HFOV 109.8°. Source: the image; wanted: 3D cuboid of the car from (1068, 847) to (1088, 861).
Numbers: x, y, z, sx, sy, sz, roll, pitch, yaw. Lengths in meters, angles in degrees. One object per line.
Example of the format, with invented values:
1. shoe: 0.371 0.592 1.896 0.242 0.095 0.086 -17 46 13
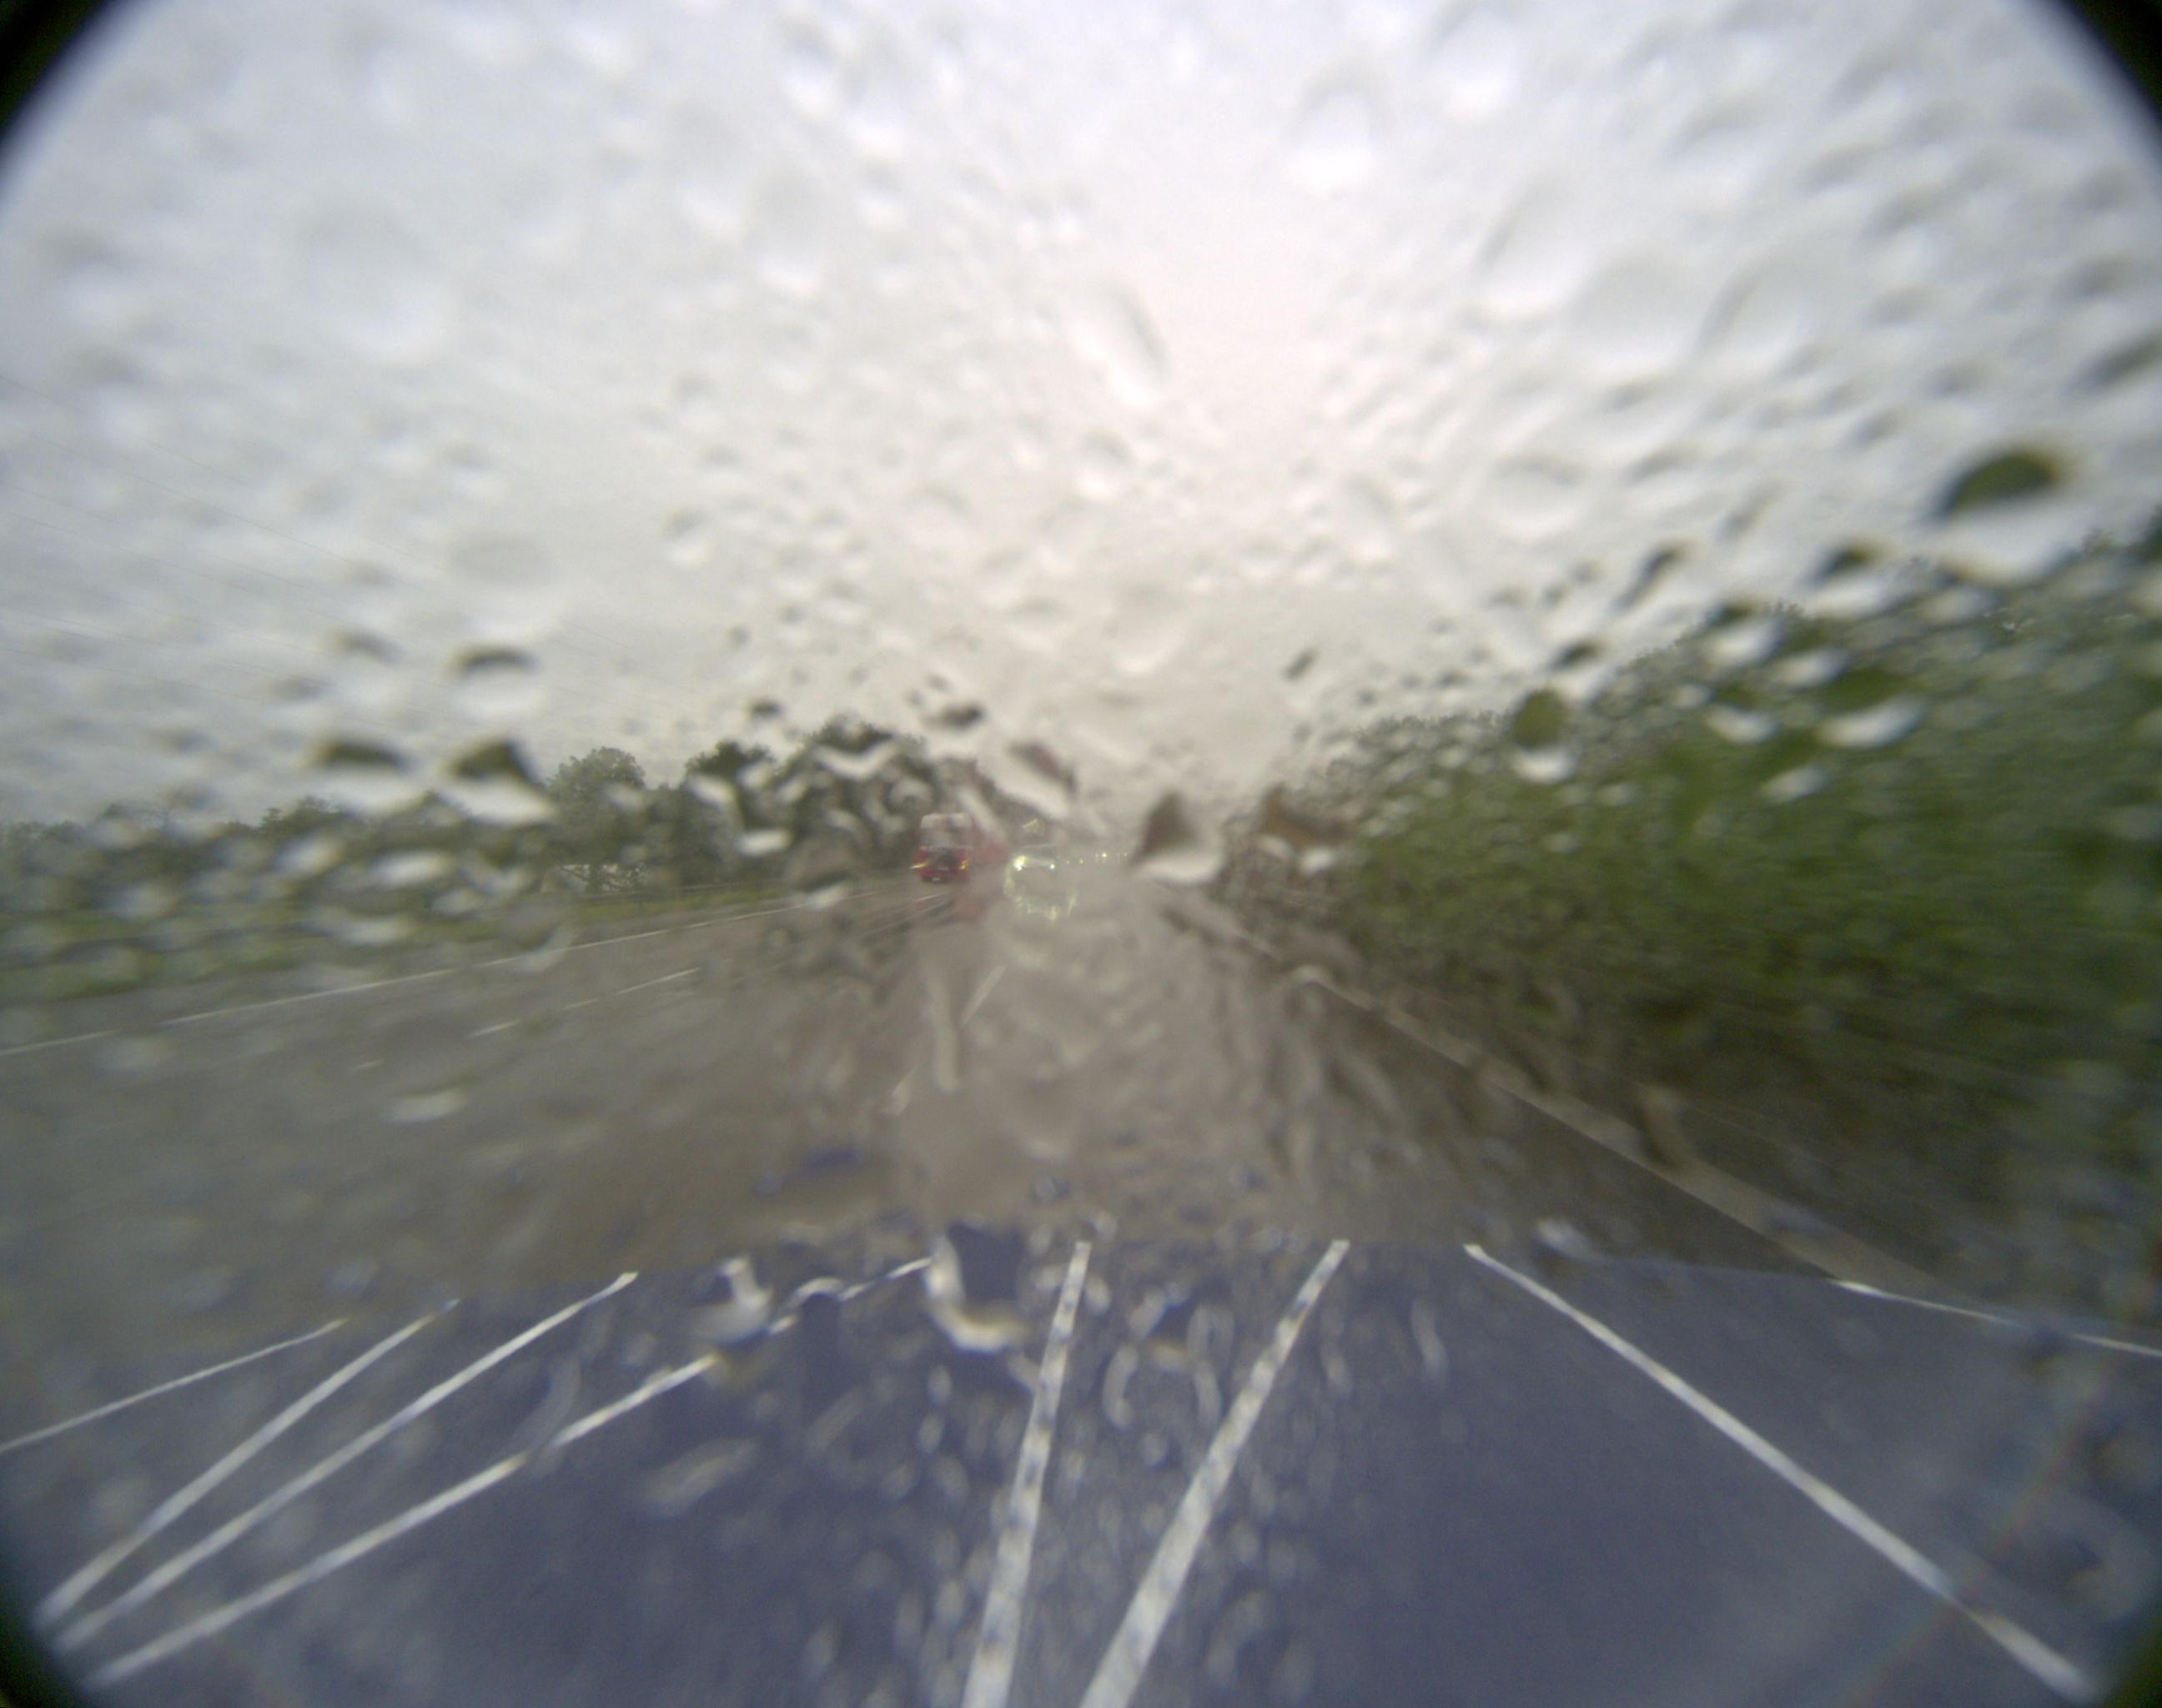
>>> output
1. car: -0.331 0.014 85.255 1.769 1.448 3.960 -4 0 4

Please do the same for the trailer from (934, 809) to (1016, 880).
1. trailer: -6.543 -0.658 49.682 2.626 3.932 13.631 -2 1 3

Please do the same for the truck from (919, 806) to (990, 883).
1. truck: -6.945 -0.543 42.388 2.626 3.933 5.433 -2 1 3

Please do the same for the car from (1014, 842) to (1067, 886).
1. car: -1.908 0.435 37.420 1.891 1.873 5.010 -4 0 4
